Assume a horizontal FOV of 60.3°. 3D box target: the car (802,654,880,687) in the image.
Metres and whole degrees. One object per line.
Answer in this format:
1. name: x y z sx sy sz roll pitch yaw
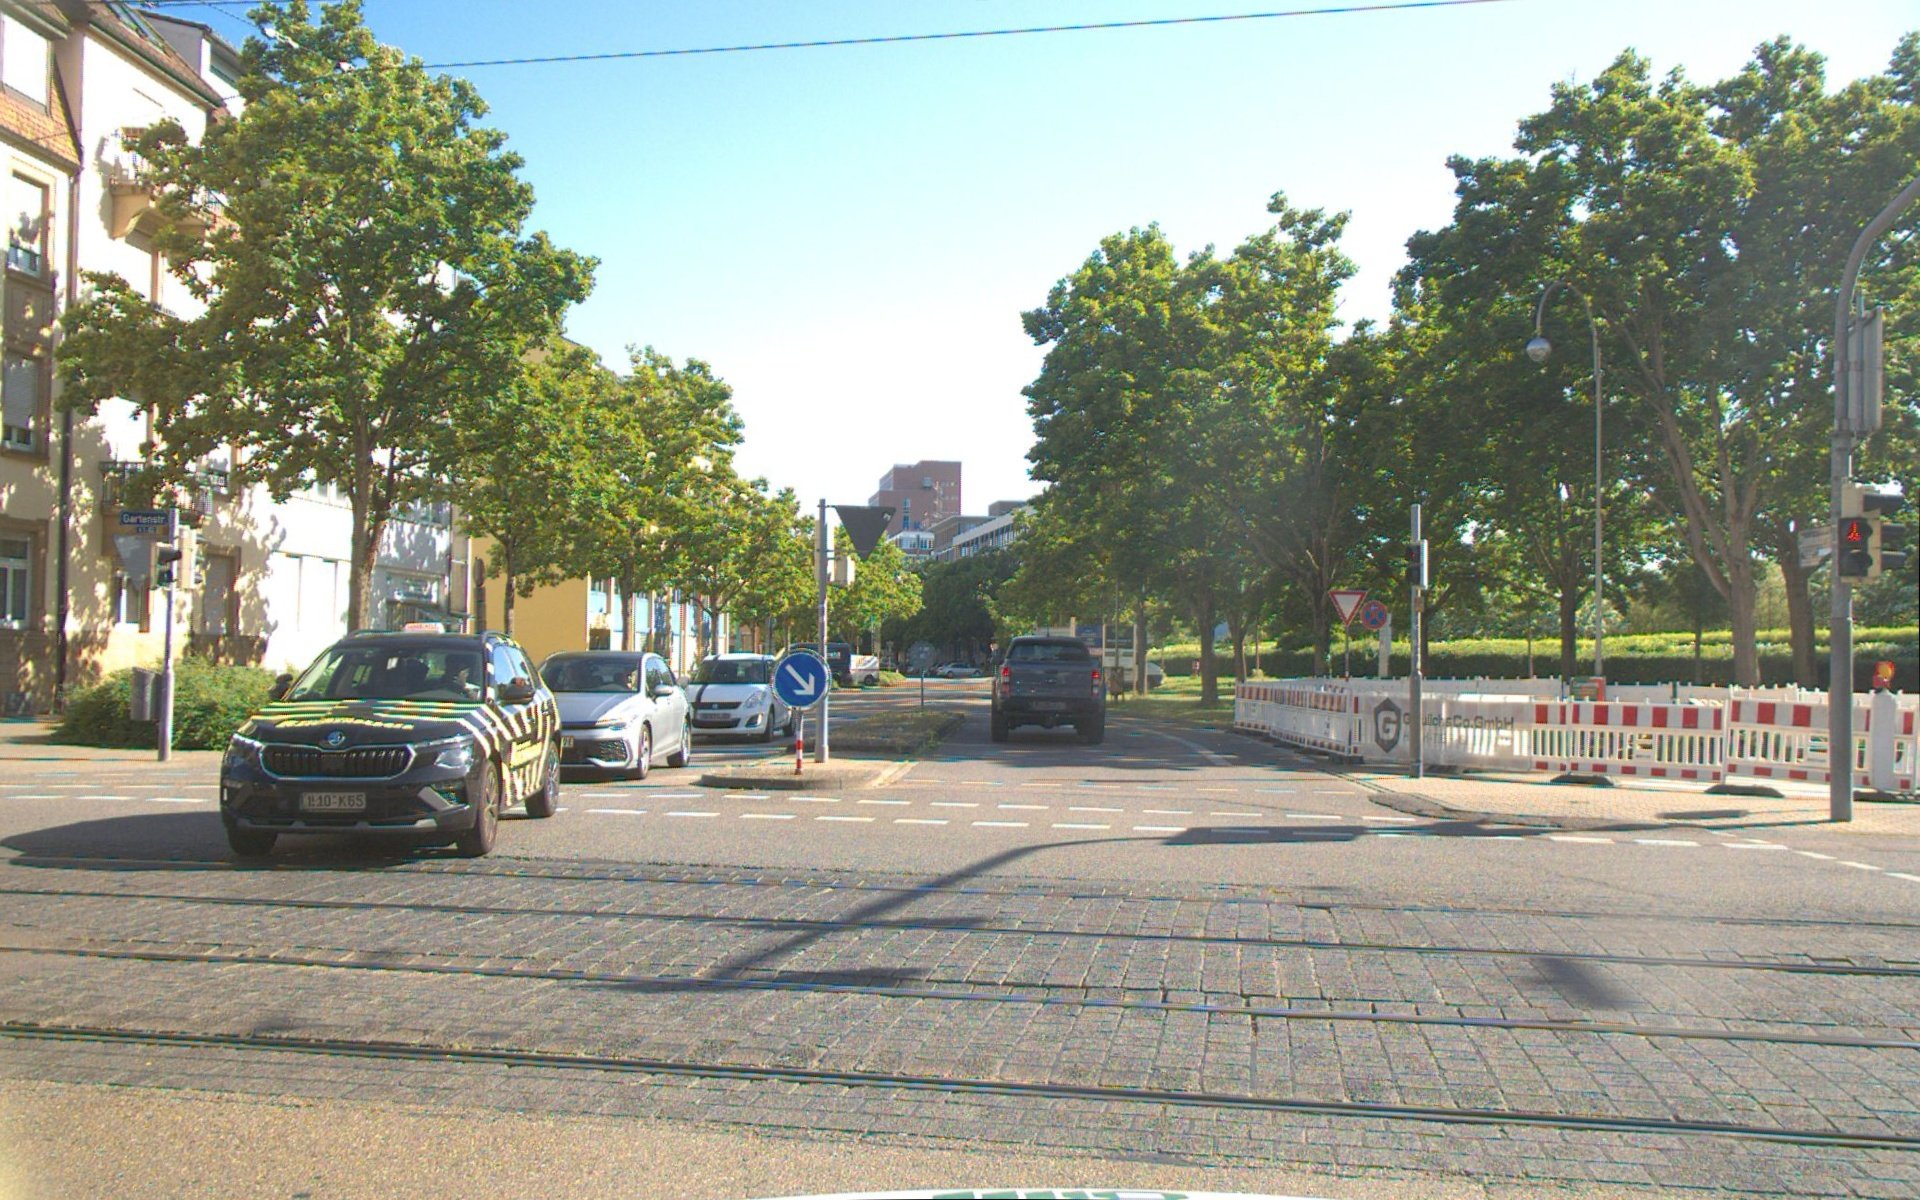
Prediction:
1. car: -7.841 4.627 109.210 4.838 2.120 1.963 1 -3 -33

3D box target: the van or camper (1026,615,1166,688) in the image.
1. van or camper: 5.996 2.316 73.706 5.953 2.980 2.575 -2 -2 1

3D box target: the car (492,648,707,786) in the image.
1. car: -4.198 1.323 19.838 1.672 1.478 3.850 0 -2 1

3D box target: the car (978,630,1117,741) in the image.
1. car: 1.512 1.515 30.334 2.090 1.868 4.937 0 -2 -2

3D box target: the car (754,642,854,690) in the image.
1. car: -8.599 3.643 91.235 5.190 2.590 1.971 1 -3 -24

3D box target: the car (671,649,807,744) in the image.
1. car: -3.839 1.656 29.301 1.669 1.539 3.864 -2 -2 3

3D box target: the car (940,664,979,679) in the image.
1. car: -0.067 7.406 171.114 3.872 1.421 1.514 -2 -2 -7

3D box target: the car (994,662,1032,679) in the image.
1. car: 4.521 6.003 140.998 3.177 1.300 1.516 -2 -2 0

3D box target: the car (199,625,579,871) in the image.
1. car: -4.074 0.994 12.517 1.753 1.540 4.111 0 -2 -5
